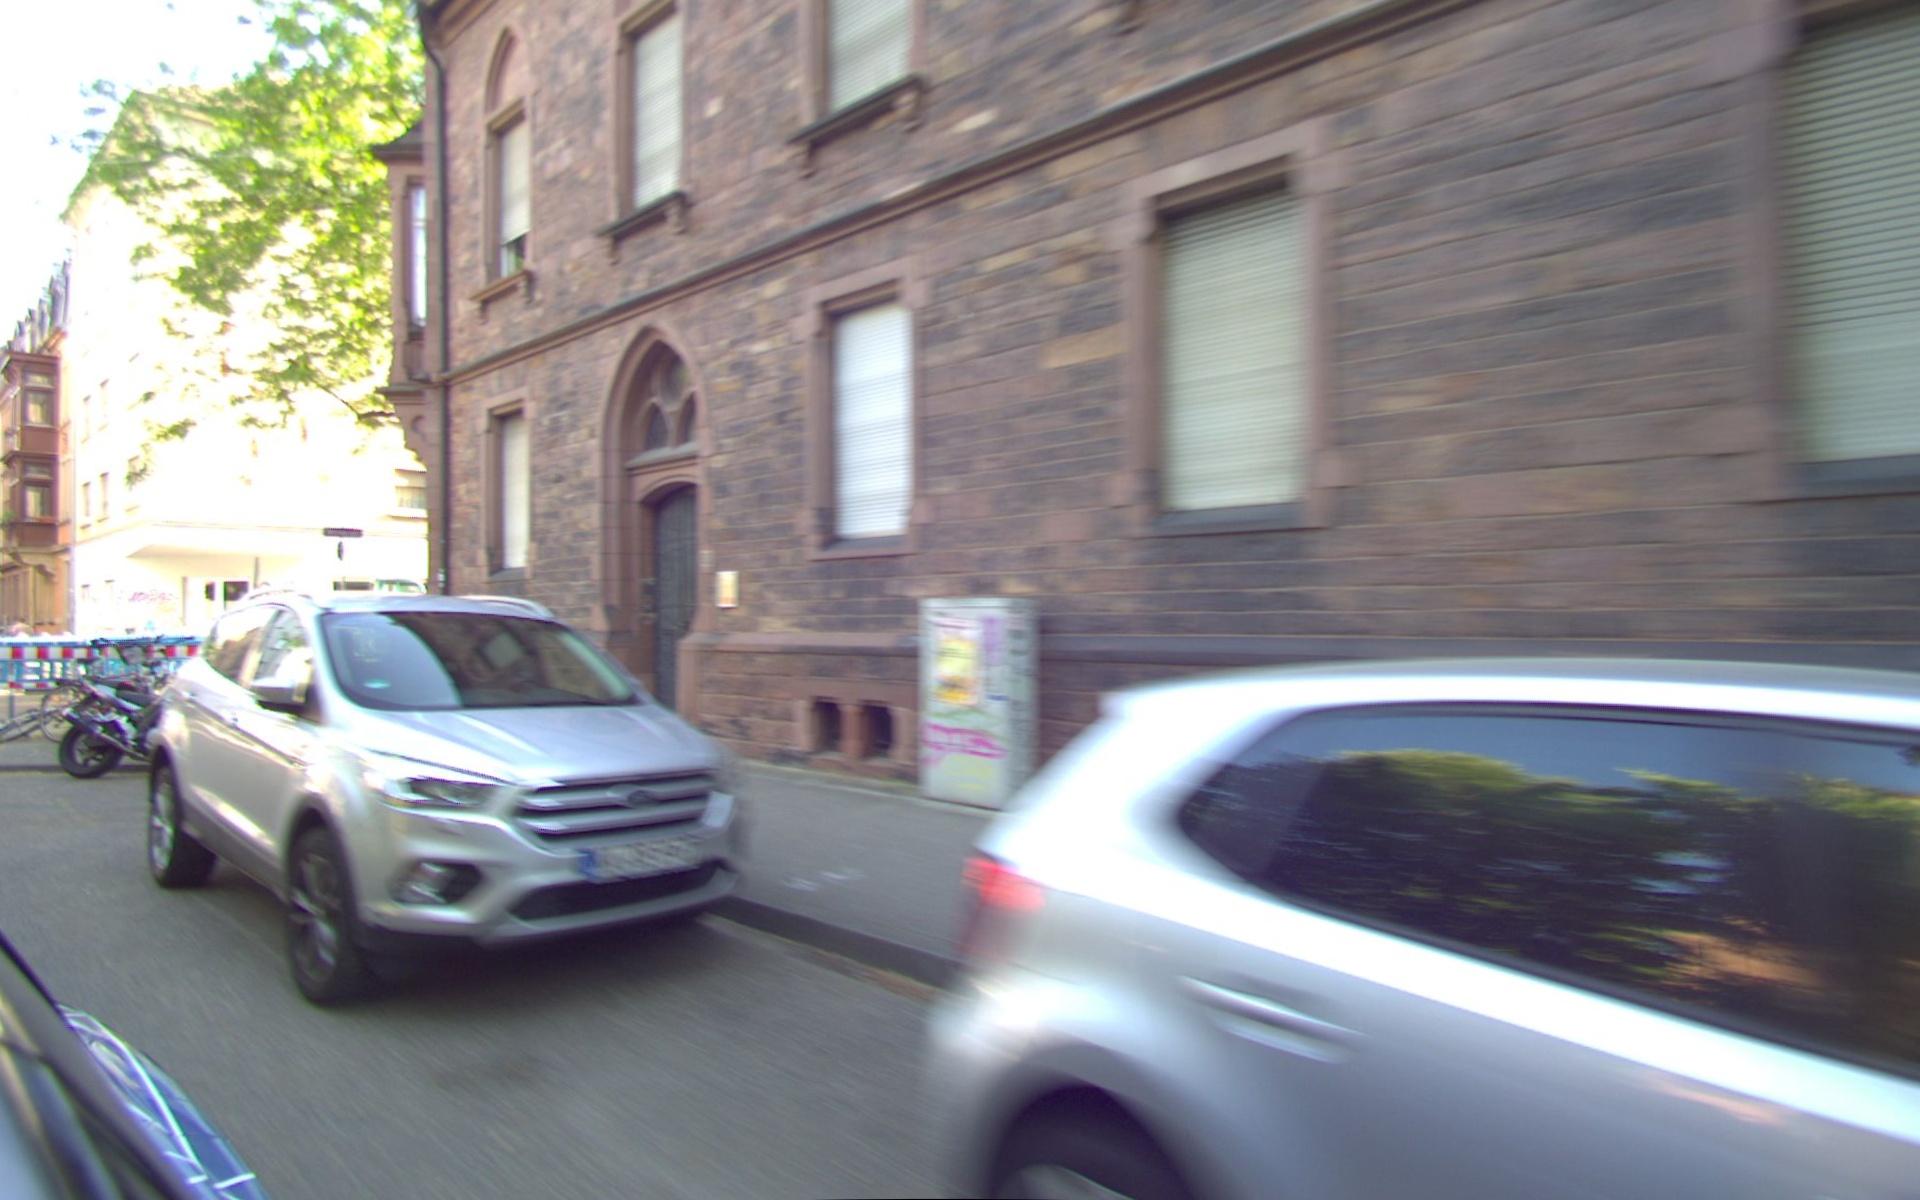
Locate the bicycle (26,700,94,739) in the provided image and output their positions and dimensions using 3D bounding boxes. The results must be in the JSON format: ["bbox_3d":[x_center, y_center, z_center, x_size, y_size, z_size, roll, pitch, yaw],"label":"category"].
[{"bbox_3d":[-11.677,1.535,13.120,1.196,0.446,0.446,-4,-2,38],"label":"bicycle"}]

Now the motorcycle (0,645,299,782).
[{"bbox_3d":[-7.879,1.092,9.912,2.292,1.260,0.702,1,-2,-4],"label":"motorcycle"}]

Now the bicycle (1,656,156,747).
[{"bbox_3d":[-10.535,1.209,12.100,1.660,1.050,0.234,0,1,1],"label":"bicycle"}]

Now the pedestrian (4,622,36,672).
[{"bbox_3d":[-30.601,1.530,32.931,0.597,1.607,0.662,-2,-2,37],"label":"pedestrian"}]

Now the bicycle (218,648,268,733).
[{"bbox_3d":[-9.402,1.172,13.252,1.451,1.050,0.230,-4,-3,43],"label":"bicycle"}]

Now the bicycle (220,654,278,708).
[{"bbox_3d":[-13.294,1.509,18.907,1.756,0.933,0.486,-4,-3,41],"label":"bicycle"}]

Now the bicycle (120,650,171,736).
[{"bbox_3d":[-10.440,1.188,12.965,1.196,1.050,0.231,-4,-3,38],"label":"bicycle"}]

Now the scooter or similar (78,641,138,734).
[{"bbox_3d":[-11.471,1.169,13.614,1.164,1.183,0.440,-5,-4,41],"label":"scooter or similar"}]

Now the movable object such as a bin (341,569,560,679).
[{"bbox_3d":[-14.041,0.594,28.135,2.001,2.768,5.080,1,1,45],"label":"movable object such as a bin"}]

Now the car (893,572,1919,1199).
[{"bbox_3d":[1.843,0.721,1.418,3.802,1.428,1.690,-1,-3,42],"label":"car"}]

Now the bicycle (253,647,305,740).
[{"bbox_3d":[-8.296,1.118,12.323,1.296,1.050,0.230,-1,-1,43],"label":"bicycle"}]

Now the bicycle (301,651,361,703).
[{"bbox_3d":[-12.035,1.474,19.351,1.756,0.933,0.486,-4,-3,41],"label":"bicycle"}]

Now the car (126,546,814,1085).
[{"bbox_3d":[-2.810,0.735,5.268,4.277,1.687,1.690,-1,-3,42],"label":"car"}]

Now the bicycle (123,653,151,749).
[{"bbox_3d":[-9.699,1.162,11.938,0.230,1.050,1.200,-1,-1,-38],"label":"bicycle"}]

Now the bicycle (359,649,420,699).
[{"bbox_3d":[-11.228,1.453,19.900,1.756,0.933,0.486,-4,-3,41],"label":"bicycle"}]

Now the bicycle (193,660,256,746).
[{"bbox_3d":[-8.707,1.197,11.965,1.419,0.913,0.231,0,1,39],"label":"bicycle"}]
